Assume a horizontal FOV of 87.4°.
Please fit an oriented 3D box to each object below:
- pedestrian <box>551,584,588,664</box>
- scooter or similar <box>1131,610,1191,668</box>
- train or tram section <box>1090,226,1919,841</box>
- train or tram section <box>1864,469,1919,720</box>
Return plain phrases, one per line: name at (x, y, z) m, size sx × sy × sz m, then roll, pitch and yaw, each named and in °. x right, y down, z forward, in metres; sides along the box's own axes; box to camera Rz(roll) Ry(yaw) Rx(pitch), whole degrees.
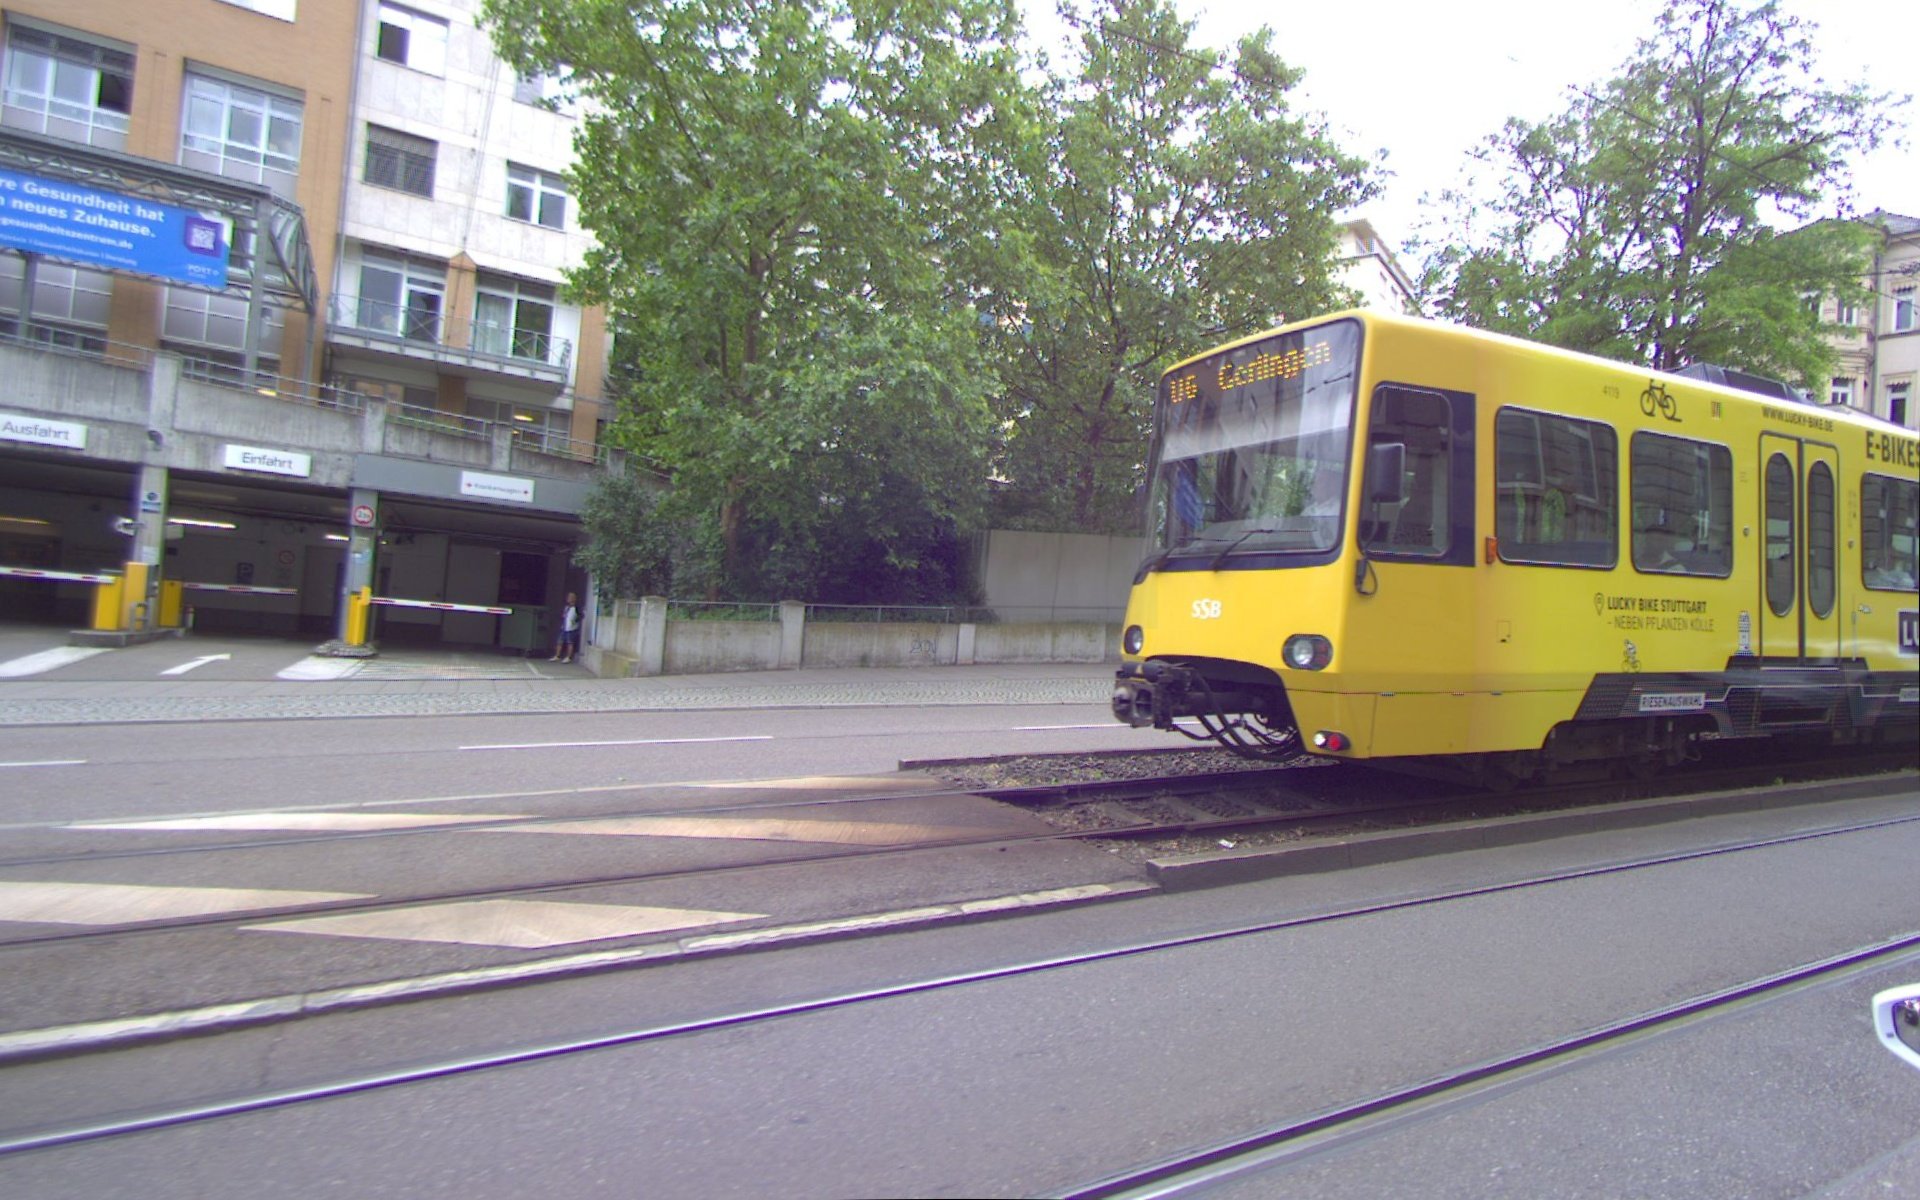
pedestrian at (-9.675, 0.598, 24.863) m, size 0.782 × 1.937 × 0.810 m, roll 1°, pitch -1°, yaw -25°
scooter or similar at (4.589, 0.888, 22.883) m, size 0.484 × 1.235 × 1.632 m, roll 4°, pitch 1°, yaw 43°
train or tram section at (8.317, -0.234, 10.909) m, size 14.670 × 3.776 × 2.870 m, roll 2°, pitch 1°, yaw -28°
train or tram section at (23.012, 0.209, 18.623) m, size 18.463 × 3.776 × 2.865 m, roll 2°, pitch 1°, yaw -27°
